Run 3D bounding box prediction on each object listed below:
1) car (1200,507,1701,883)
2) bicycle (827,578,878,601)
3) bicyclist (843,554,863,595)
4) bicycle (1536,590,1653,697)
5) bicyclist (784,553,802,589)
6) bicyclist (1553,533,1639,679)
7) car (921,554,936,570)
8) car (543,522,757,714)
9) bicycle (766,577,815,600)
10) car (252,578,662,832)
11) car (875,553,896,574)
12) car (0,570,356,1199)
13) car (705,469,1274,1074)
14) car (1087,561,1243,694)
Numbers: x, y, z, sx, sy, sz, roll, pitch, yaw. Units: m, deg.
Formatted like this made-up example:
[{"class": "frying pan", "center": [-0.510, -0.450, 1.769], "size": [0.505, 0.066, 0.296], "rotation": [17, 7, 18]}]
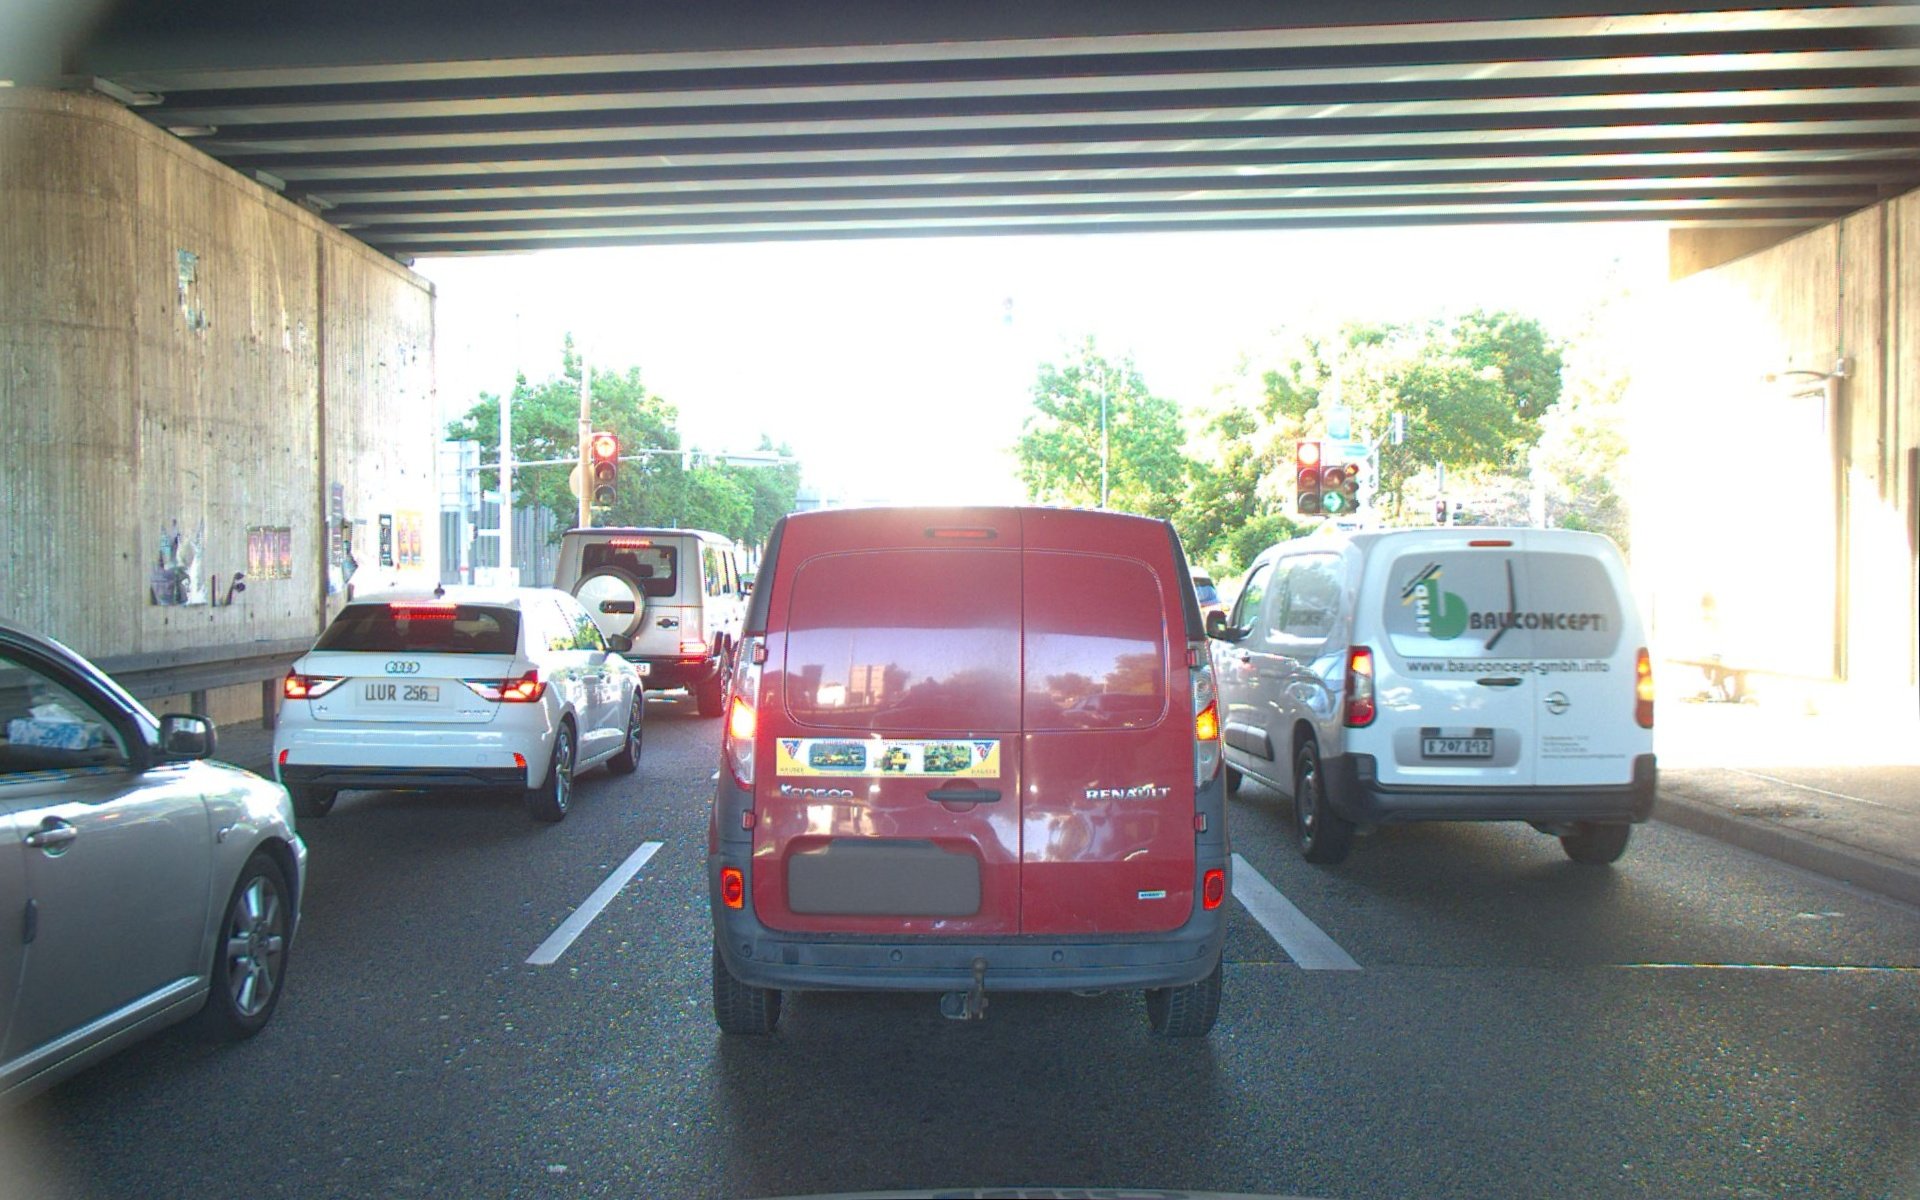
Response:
[{"class": "car", "center": [2.762, 0.427, 10.401], "size": [1.777, 1.865, 4.299], "rotation": [0, 1, -2]}, {"class": "bicycle", "center": [-4.171, -0.420, 64.361], "size": [1.913, 0.889, 0.699], "rotation": [0, 0, -1]}, {"class": "bicyclist", "center": [-4.164, -0.992, 64.357], "size": [0.739, 1.569, 0.696], "rotation": [0, 0, 0]}, {"class": "bicycle", "center": [7.058, 0.467, 18.471], "size": [0.667, 1.132, 1.603], "rotation": [0, 0, -1]}, {"class": "bicyclist", "center": [-6.463, -1.107, 63.929], "size": [0.640, 1.352, 0.602], "rotation": [1, 0, -4]}, {"class": "bicyclist", "center": [7.054, 0.068, 18.368], "size": [0.656, 1.589, 0.735], "rotation": [0, 0, -1]}, {"class": "car", "center": [-4.247, -5.061, 220.694], "size": [1.953, 2.049, 3.999], "rotation": [1, 0, -1]}, {"class": "car", "center": [-3.405, 0.169, 18.818], "size": [1.777, 1.937, 3.812], "rotation": [1, 0, -2]}, {"class": "bicycle", "center": [-6.558, -0.447, 63.932], "size": [1.875, 0.882, 0.605], "rotation": [0, 0, -5]}, {"class": "car", "center": [-3.236, 0.594, 11.425], "size": [1.658, 1.434, 3.813], "rotation": [1, 0, 0]}, {"class": "car", "center": [-7.474, -3.663, 166.302], "size": [1.953, 2.049, 3.999], "rotation": [1, 0, -1]}, {"class": "car", "center": [-2.982, 0.658, 3.824], "size": [1.662, 1.480, 4.396], "rotation": [1, 0, -2]}, {"class": "car", "center": [0.063, 0.505, 6.970], "size": [1.684, 1.795, 3.999], "rotation": [1, 0, -1]}, {"class": "car", "center": [2.816, 0.336, 23.507], "size": [1.741, 1.684, 3.991], "rotation": [1, 1, 1]}]
